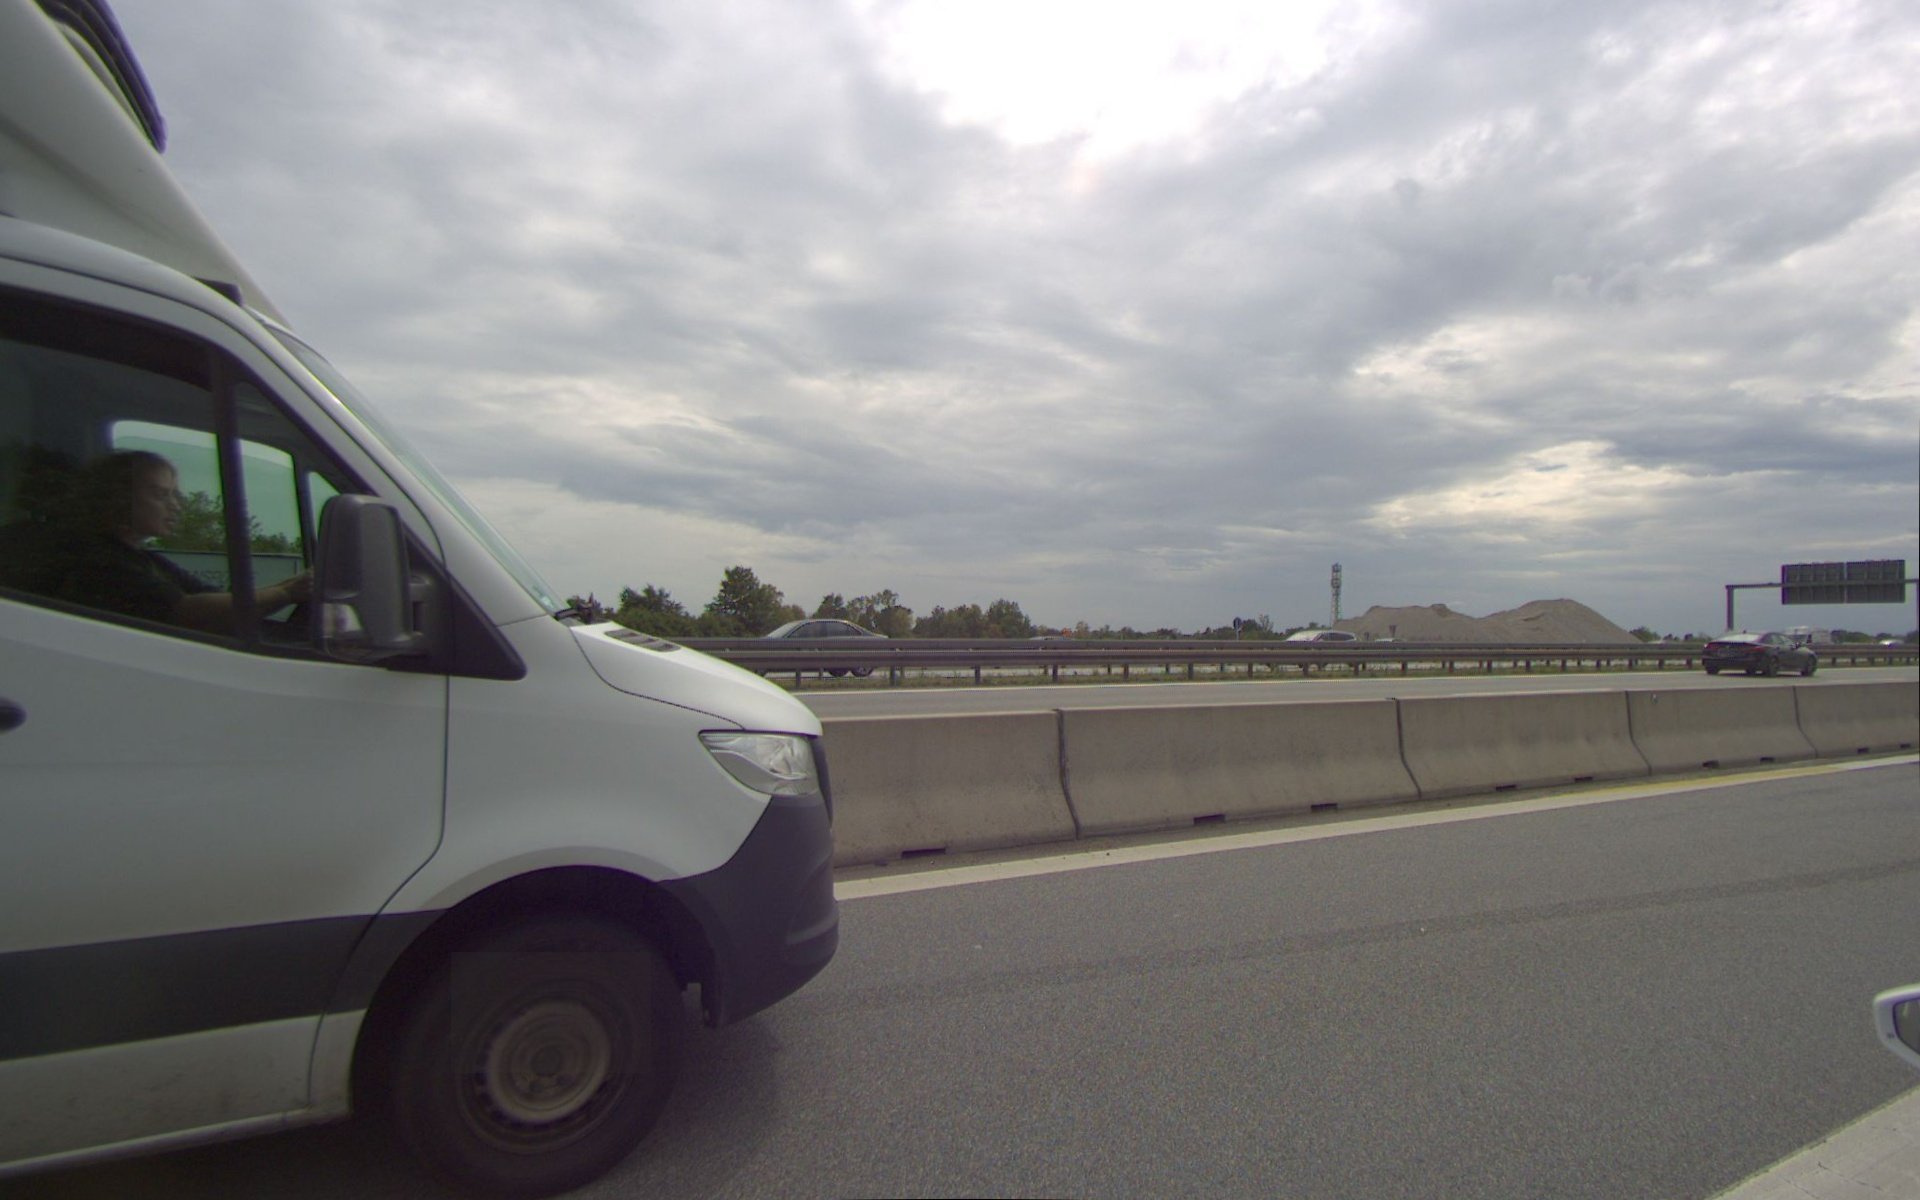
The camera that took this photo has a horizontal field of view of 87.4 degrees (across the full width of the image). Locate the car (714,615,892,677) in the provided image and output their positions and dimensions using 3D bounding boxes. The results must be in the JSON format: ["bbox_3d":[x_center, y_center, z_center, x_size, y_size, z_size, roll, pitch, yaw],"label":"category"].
[{"bbox_3d":[-3.818,1.096,24.599,3.952,1.387,1.744,1,-1,-30],"label":"car"}]

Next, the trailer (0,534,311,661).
[{"bbox_3d":[-24.194,-0.023,28.374,9.716,3.313,3.180,2,-1,-32],"label":"trailer"}]

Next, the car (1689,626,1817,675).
[{"bbox_3d":[25.548,1.609,32.338,4.332,1.469,1.764,2,-1,-30],"label":"car"}]

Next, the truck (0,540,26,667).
[{"bbox_3d":[-28.191,0.036,25.775,5.559,3.374,3.133,1,-1,-32],"label":"truck"}]

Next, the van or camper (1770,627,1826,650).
[{"bbox_3d":[77.545,3.524,92.954,6.209,2.040,2.223,2,-1,-32],"label":"van or camper"}]

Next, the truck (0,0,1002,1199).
[{"bbox_3d":[-3.206,-0.136,2.340,6.296,3.131,2.392,1,0,-30],"label":"truck"}]

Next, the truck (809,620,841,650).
[{"bbox_3d":[-13.828,3.491,102.612,2.864,2.810,8.766,1,-1,-10],"label":"truck"}]

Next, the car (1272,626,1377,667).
[{"bbox_3d":[14.274,1.796,39.290,3.957,1.504,1.679,1,0,-30],"label":"car"}]
